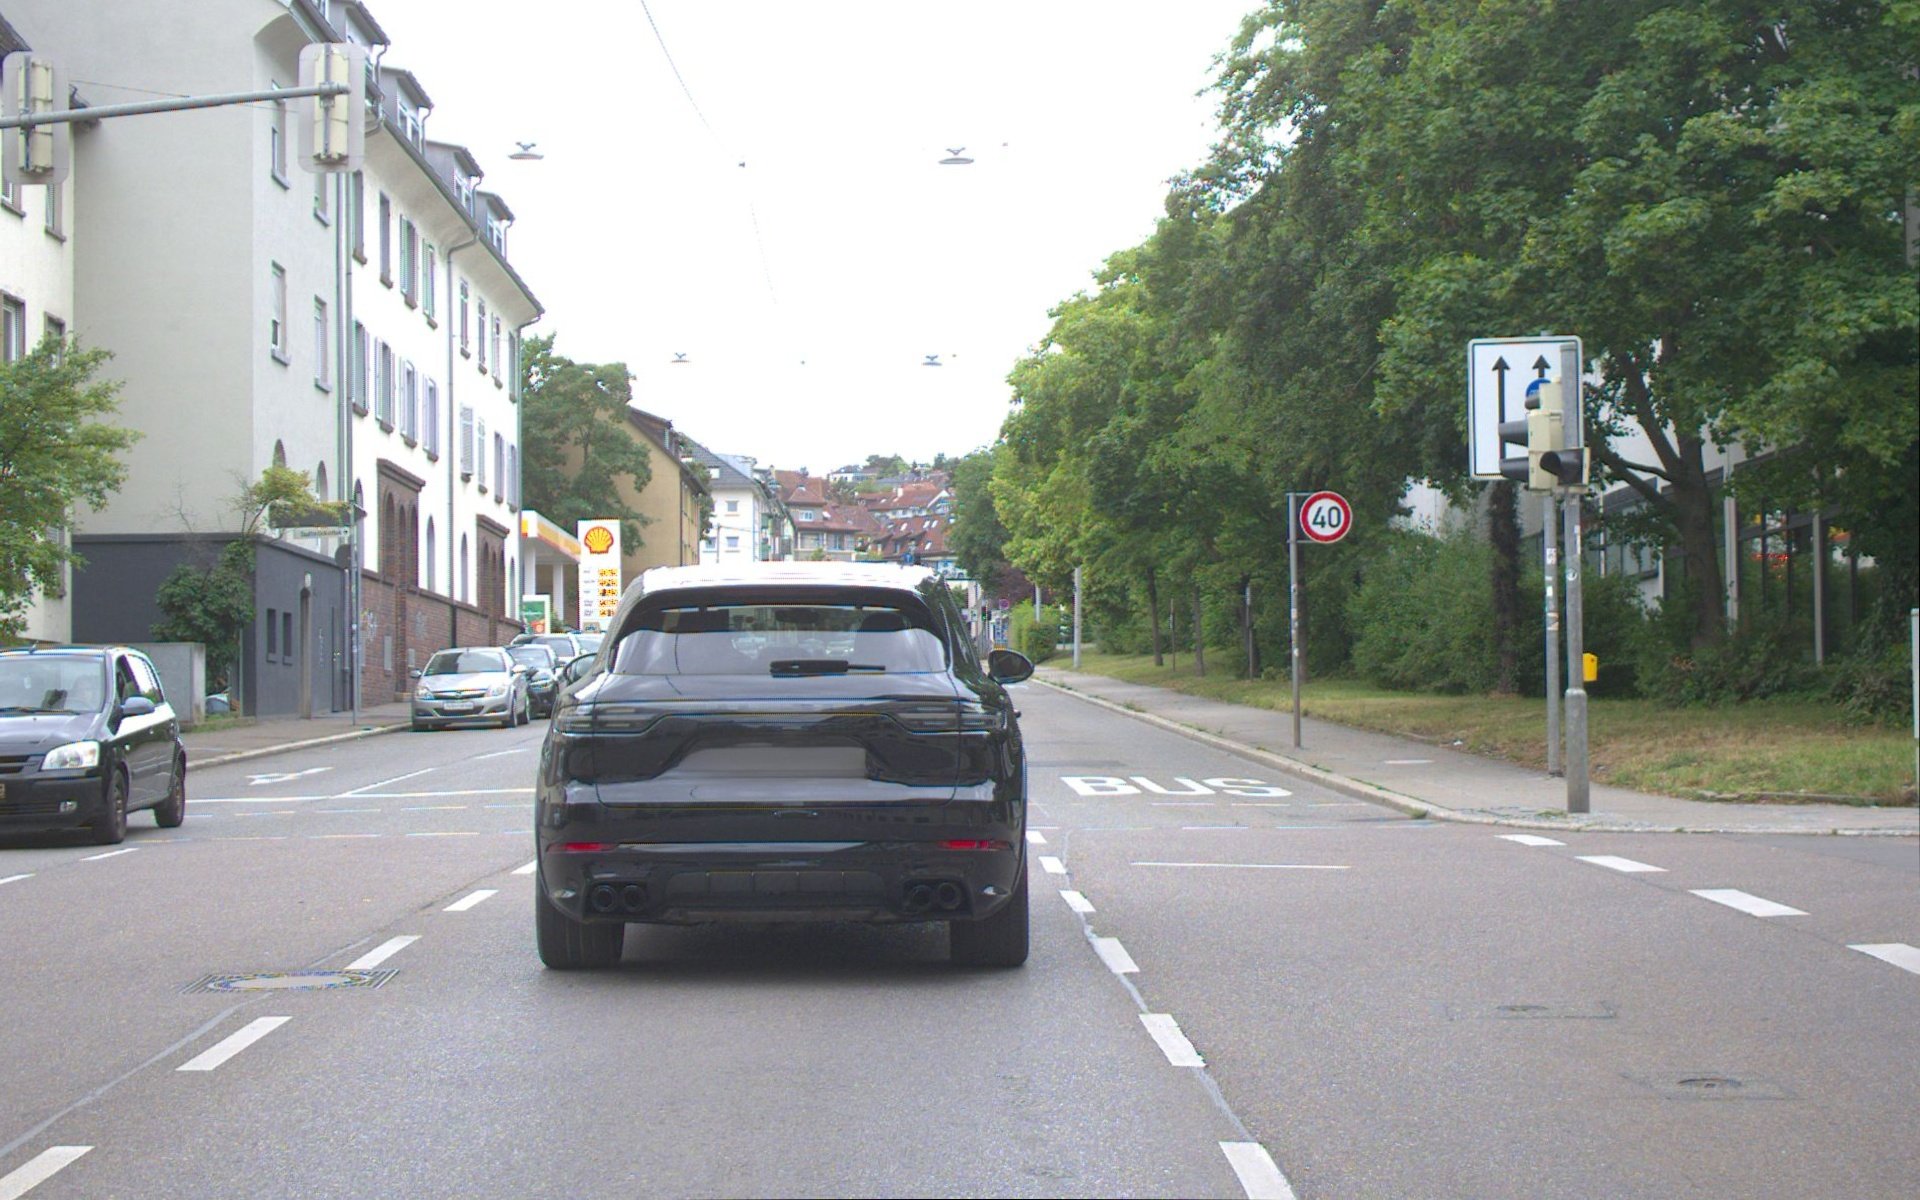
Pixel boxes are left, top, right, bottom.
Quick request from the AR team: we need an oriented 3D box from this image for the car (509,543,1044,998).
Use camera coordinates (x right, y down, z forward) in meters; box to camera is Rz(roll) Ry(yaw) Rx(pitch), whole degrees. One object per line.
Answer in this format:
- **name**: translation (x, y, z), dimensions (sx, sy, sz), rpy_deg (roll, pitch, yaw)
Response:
- **car**: translation (-0.718, 0.631, 14.977), dimensions (1.993, 1.691, 4.000), rpy_deg (1, 0, -1)

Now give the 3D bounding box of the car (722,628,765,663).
- **car**: translation (-8.884, 1.847, 141.502), dimensions (1.669, 1.357, 4.000), rpy_deg (0, 0, -2)

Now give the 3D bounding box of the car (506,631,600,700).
- **car**: translation (-8.581, 1.357, 72.651), dimensions (1.669, 1.357, 4.000), rpy_deg (0, 0, -2)

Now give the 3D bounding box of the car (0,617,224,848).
- **car**: translation (-6.782, 0.959, 25.682), dimensions (1.664, 1.514, 3.739), rpy_deg (-4, 0, 0)

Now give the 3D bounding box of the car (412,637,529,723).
- **car**: translation (-8.329, 1.343, 58.763), dimensions (1.669, 1.357, 4.001), rpy_deg (0, 0, -3)

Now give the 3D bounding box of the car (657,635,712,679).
- **car**: translation (-9.215, 1.894, 115.208), dimensions (1.669, 1.357, 4.000), rpy_deg (0, 0, -2)

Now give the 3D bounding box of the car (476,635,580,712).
- **car**: translation (-8.307, 1.398, 66.333), dimensions (1.669, 1.357, 4.000), rpy_deg (0, 0, -2)
